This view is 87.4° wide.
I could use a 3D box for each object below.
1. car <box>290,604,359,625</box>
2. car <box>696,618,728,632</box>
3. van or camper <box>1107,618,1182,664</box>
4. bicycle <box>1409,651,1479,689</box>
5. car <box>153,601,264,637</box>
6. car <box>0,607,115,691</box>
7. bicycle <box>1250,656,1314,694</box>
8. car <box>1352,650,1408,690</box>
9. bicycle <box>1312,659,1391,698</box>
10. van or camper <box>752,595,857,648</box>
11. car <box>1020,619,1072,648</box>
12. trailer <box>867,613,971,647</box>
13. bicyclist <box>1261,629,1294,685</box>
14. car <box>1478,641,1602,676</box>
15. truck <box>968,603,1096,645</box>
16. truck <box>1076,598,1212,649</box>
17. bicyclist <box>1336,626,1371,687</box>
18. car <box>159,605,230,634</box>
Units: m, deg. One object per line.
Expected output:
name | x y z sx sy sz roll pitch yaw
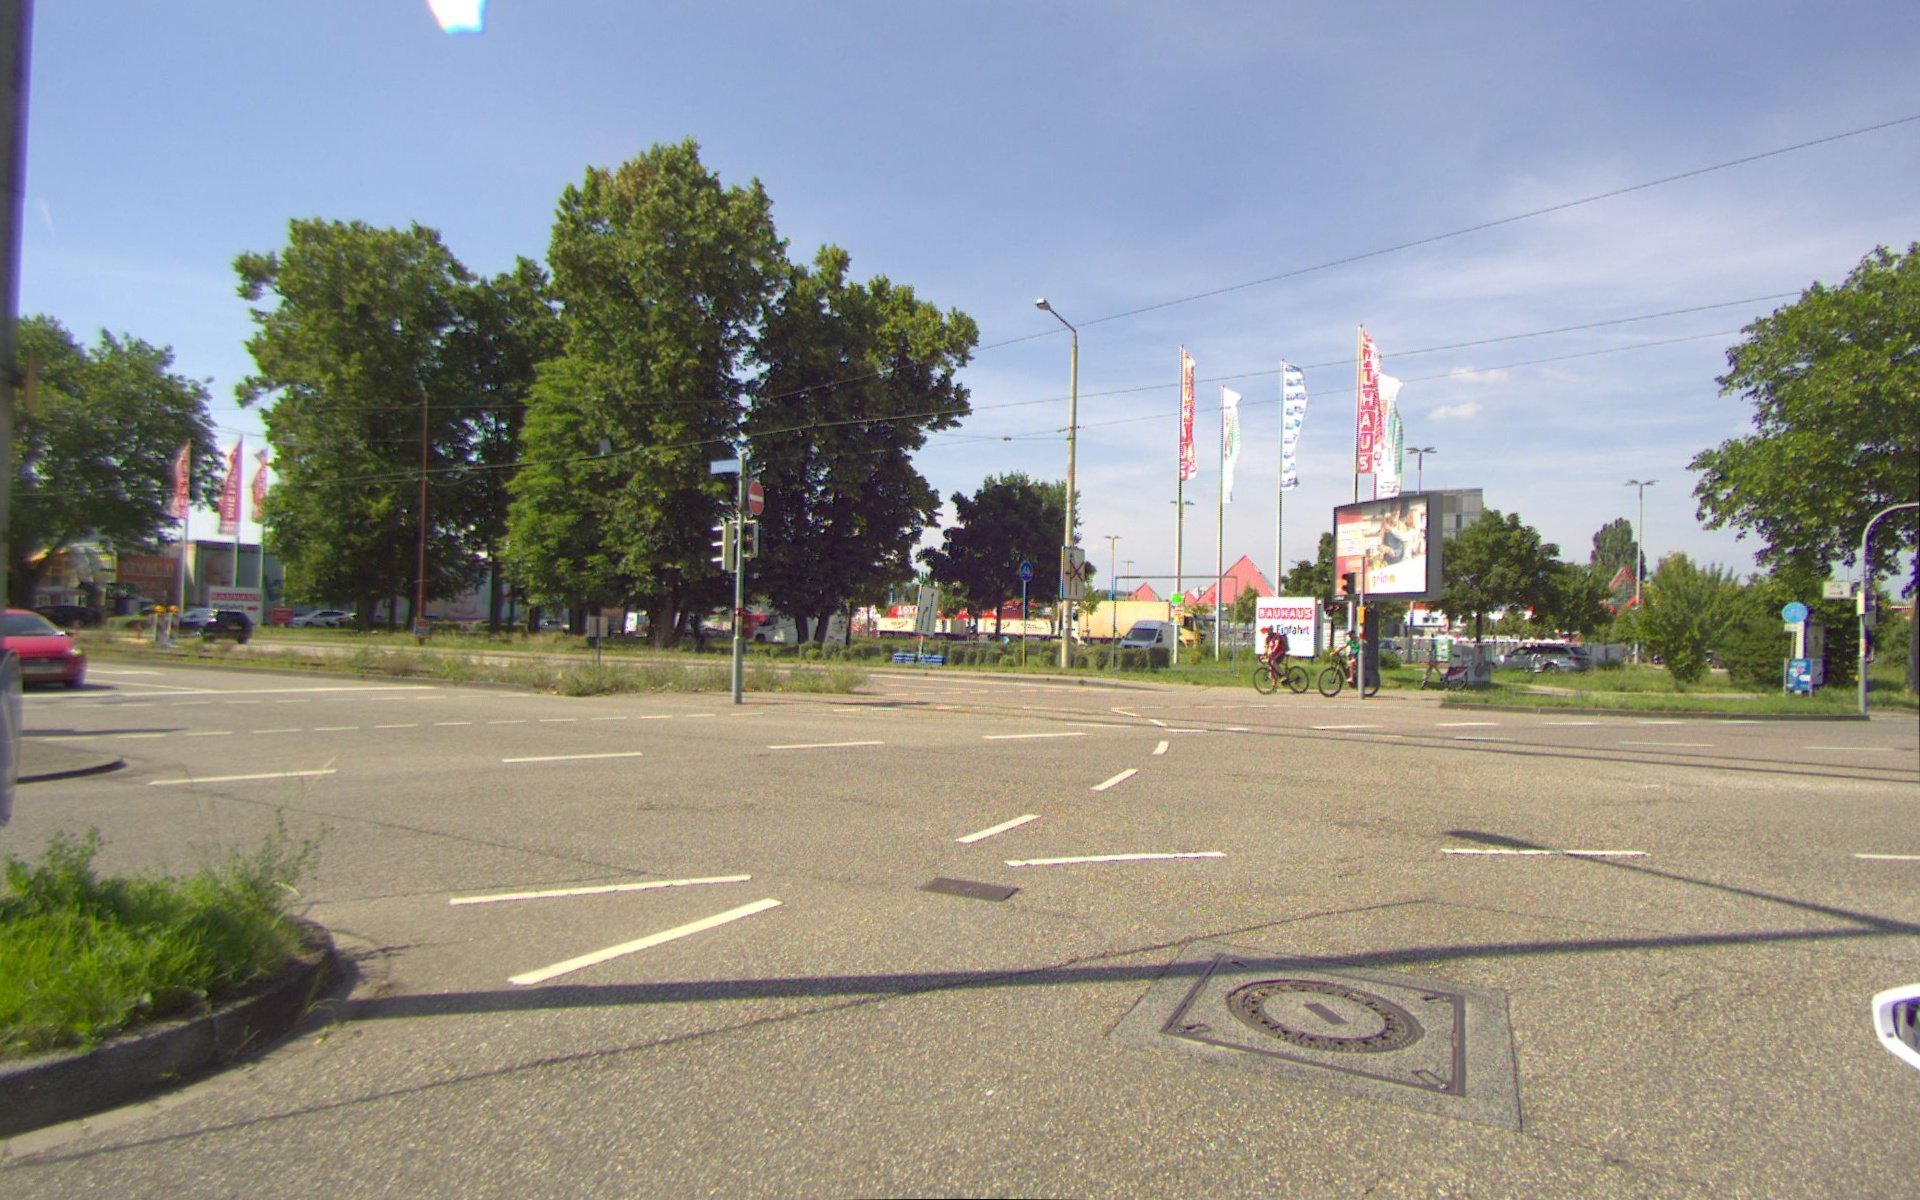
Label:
car | -52.069 1.196 82.355 1.842 1.585 4.375 1 -2 30
car | -32.140 3.241 130.289 1.814 1.817 3.993 1 -1 30
van or camper | 9.656 2.104 52.084 2.156 2.239 5.510 1 -2 29
bicycle | 13.942 2.017 28.940 1.863 1.051 0.595 2 -1 -13
car | -32.962 0.827 44.069 4.138 1.462 1.790 1 -1 17
car | -18.234 0.865 19.159 3.926 1.468 1.845 0 -2 27
bicycle | 8.394 1.956 26.173 1.727 0.950 0.432 2 -1 -25
car | 19.578 3.225 46.985 2.157 1.593 4.577 1 -2 20
bicycle | 9.897 1.980 25.397 1.963 0.950 0.416 2 -1 -13
van or camper | -9.875 1.343 63.693 6.210 3.141 2.708 1 -1 29
car | 7.941 3.084 92.504 2.346 2.562 6.115 0 -2 30
trailer | -3.368 2.438 82.008 8.061 2.523 2.922 1 -1 29
bicyclist | 8.283 1.473 26.228 0.601 1.432 0.526 2 -1 -24
car | 26.861 2.688 46.645 2.178 1.432 4.534 2 -2 -34
truck | 5.513 1.820 77.449 9.436 2.930 2.923 1 -1 27
truck | 12.809 1.610 69.984 8.758 3.355 3.157 1 -1 26
bicyclist | 9.945 1.425 25.393 0.599 1.511 0.528 2 -1 -12
car | -56.303 1.447 73.891 3.973 2.040 1.974 2 -2 -44
